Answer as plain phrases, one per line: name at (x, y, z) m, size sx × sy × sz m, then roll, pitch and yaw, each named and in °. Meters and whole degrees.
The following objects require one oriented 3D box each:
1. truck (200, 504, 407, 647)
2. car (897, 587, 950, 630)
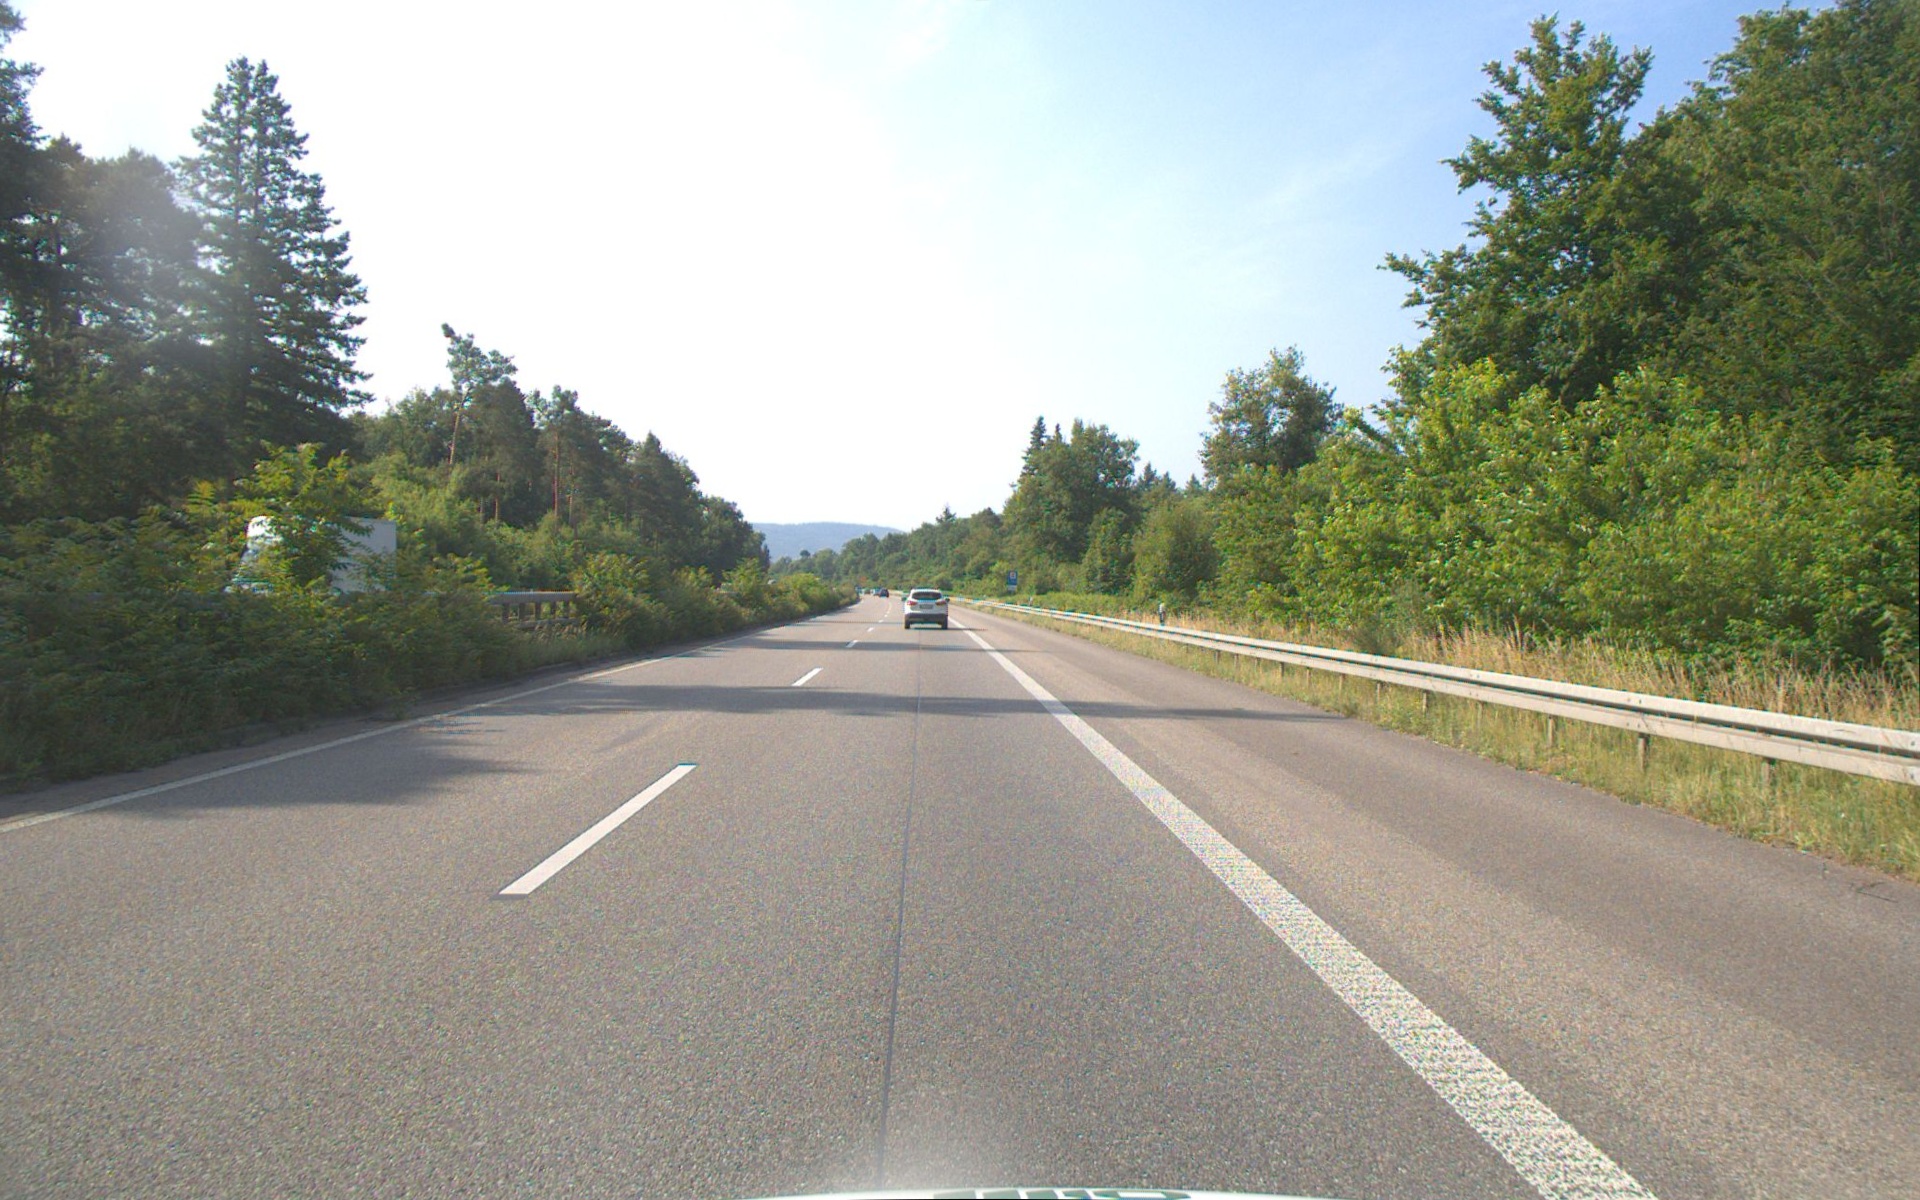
truck at (-16.180, -0.585, 41.315) m, size 2.412 × 3.232 × 7.225 m, roll -1°, pitch 0°, yaw -2°
car at (-1.518, 0.311, 67.705) m, size 1.837 × 1.614 × 3.996 m, roll 3°, pitch 0°, yaw -5°
